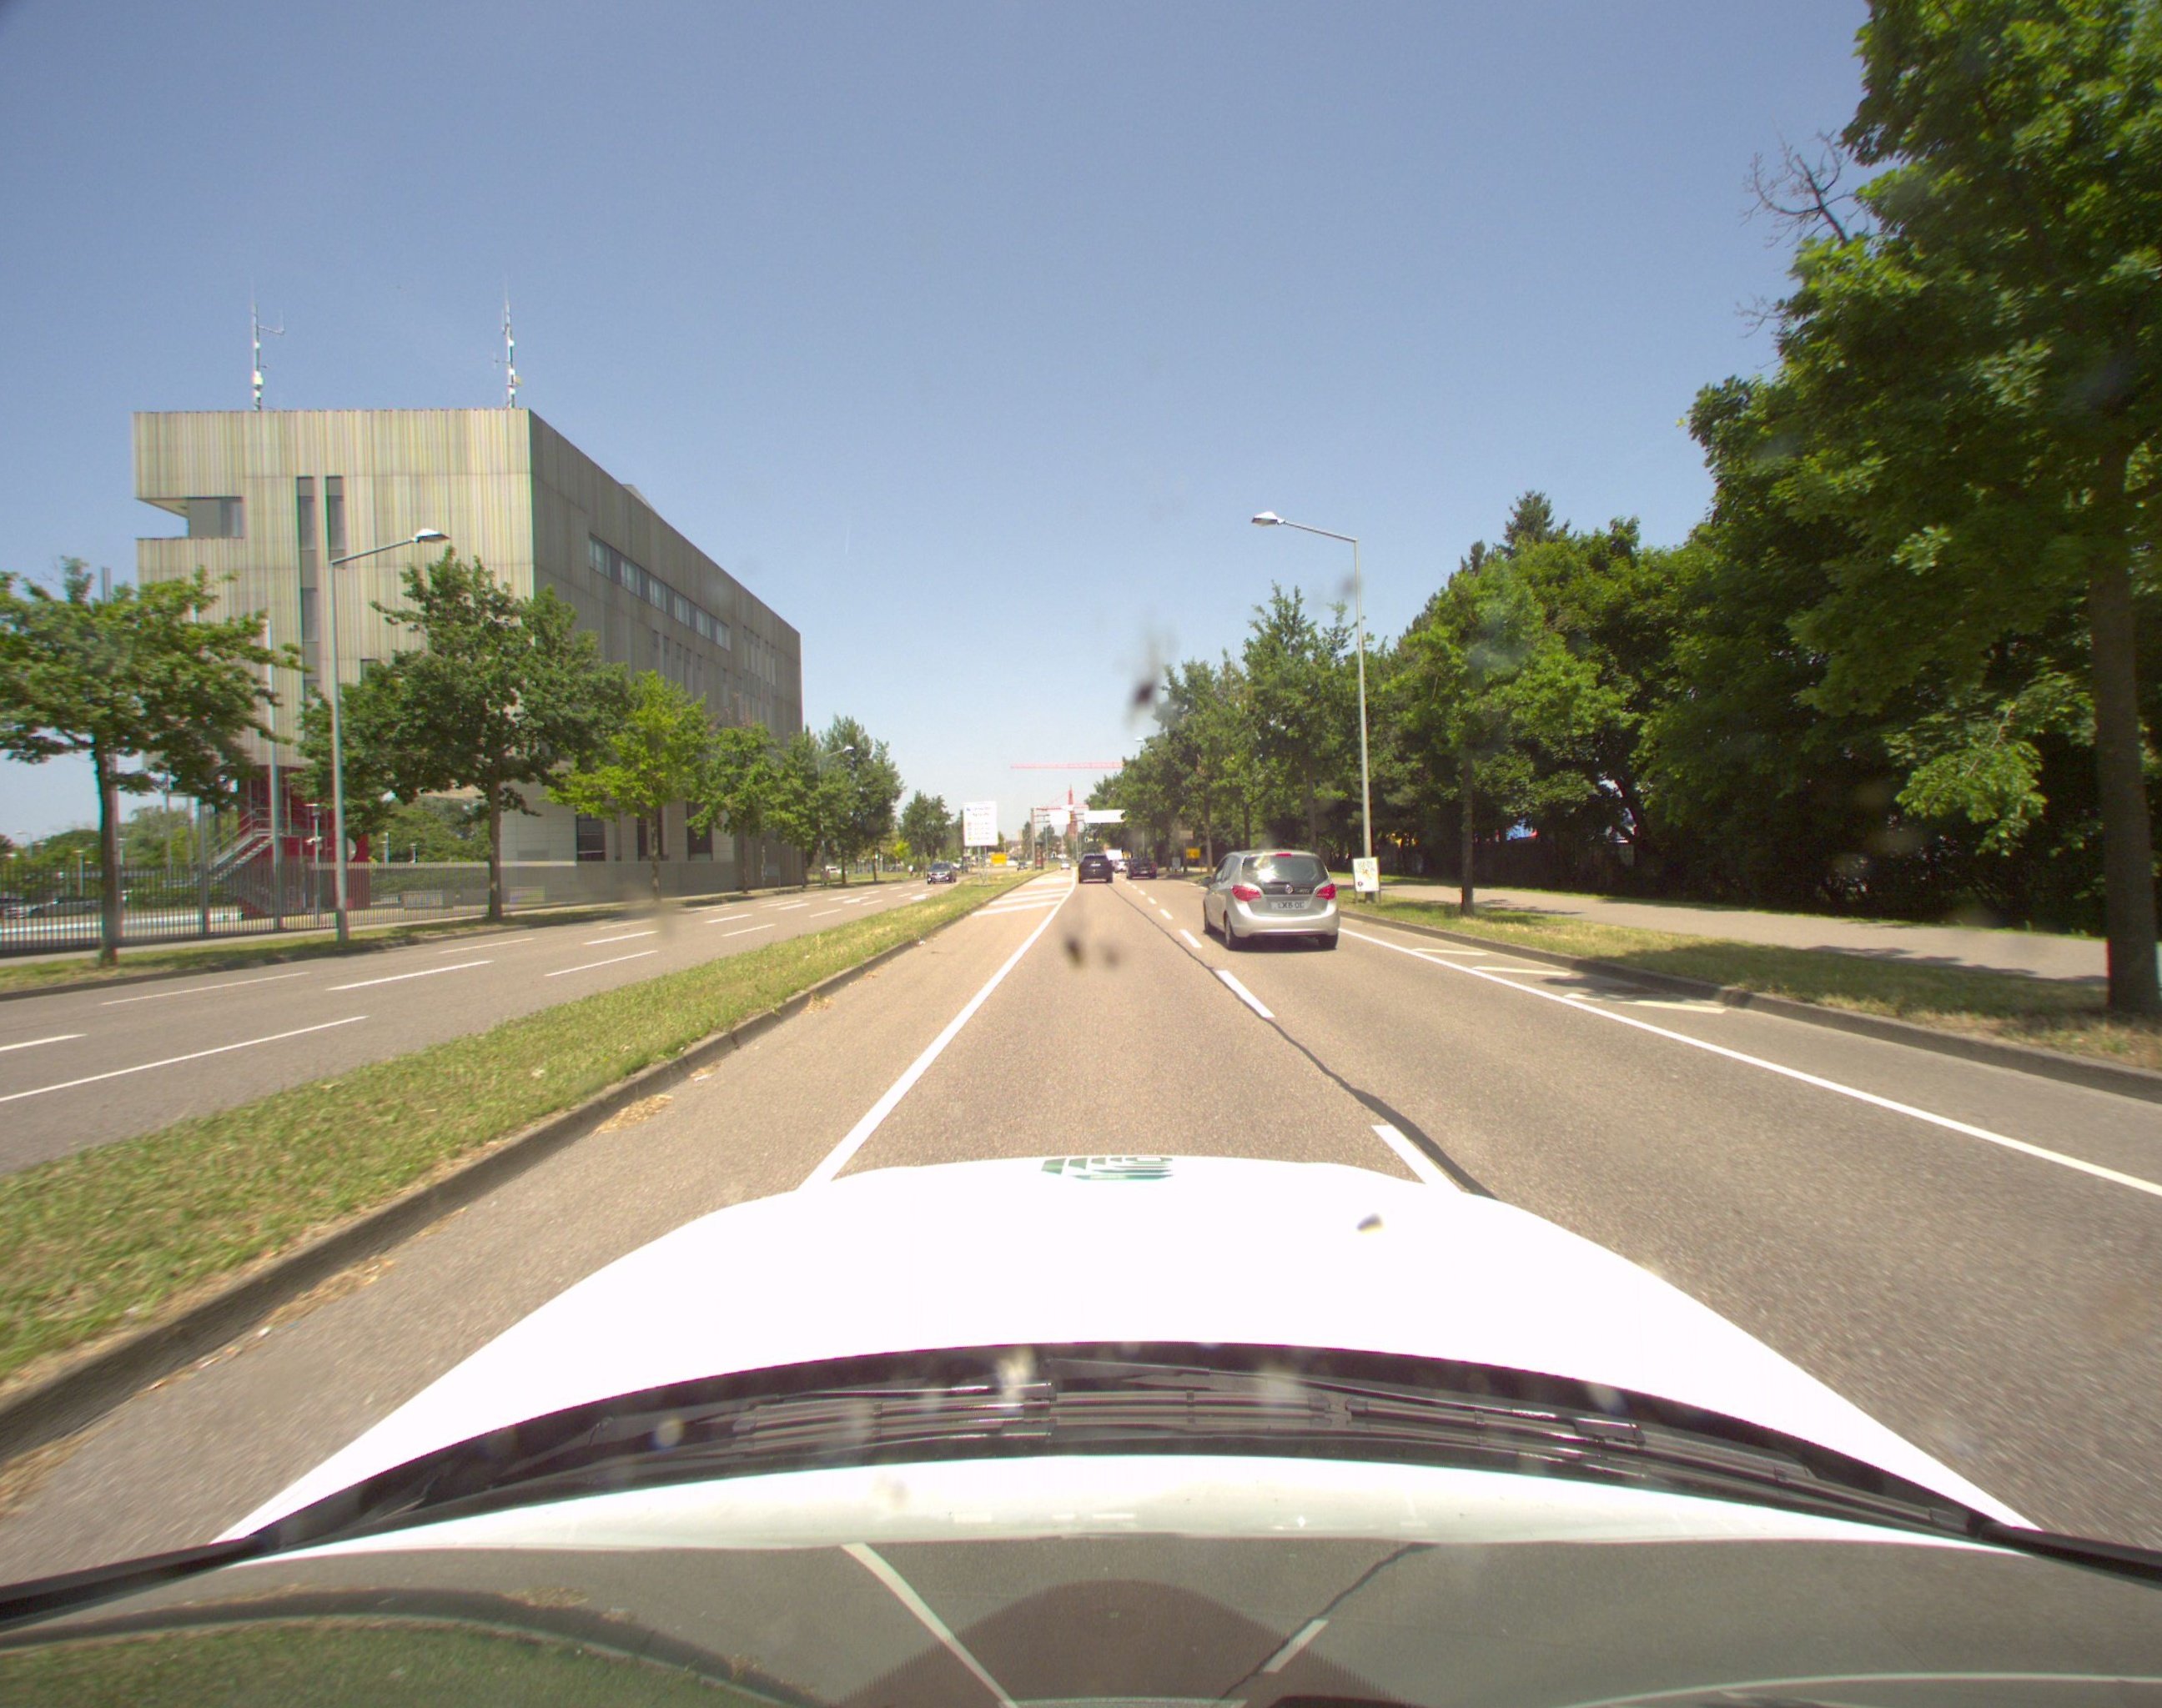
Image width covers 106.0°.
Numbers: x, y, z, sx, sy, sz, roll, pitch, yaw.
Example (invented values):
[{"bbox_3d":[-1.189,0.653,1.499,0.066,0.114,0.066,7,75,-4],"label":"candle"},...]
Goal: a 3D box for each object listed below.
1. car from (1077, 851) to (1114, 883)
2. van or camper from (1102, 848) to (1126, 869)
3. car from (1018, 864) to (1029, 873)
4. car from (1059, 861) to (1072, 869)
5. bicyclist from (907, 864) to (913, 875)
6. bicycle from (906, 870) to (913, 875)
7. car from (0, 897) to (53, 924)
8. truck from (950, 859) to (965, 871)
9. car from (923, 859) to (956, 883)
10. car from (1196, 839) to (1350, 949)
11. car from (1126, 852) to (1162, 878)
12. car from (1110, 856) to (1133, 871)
[{"bbox_3d":[0.847,0.693,46.294,1.991,1.689,4.034,-1,0,1],"label":"car"},{"bbox_3d":[3.817,0.489,95.388,2.486,2.291,4.918,-2,-1,-1],"label":"van or camper"},{"bbox_3d":[-10.653,2.688,150.825,1.888,1.610,4.530,-2,0,-3],"label":"car"},{"bbox_3d":[-2.721,1.972,142.491,1.990,1.321,3.993,-2,0,-5],"label":"car"},{"bbox_3d":[-23.613,2.118,112.208,0.620,1.489,0.757,-2,0,2],"label":"bicyclist"},{"bbox_3d":[-23.564,2.568,112.156,0.479,0.715,1.851,-2,0,3],"label":"bicycle"},{"bbox_3d":[-68.099,3.612,50.847,2.016,1.581,4.524,-2,0,1],"label":"car"},{"bbox_3d":[-27.116,2.361,178.808,2.632,2.576,6.312,-1,0,-3],"label":"truck"},{"bbox_3d":[-9.851,1.148,56.884,1.703,1.471,3.937,-3,0,-2],"label":"car"},{"bbox_3d":[3.136,0.605,14.089,1.786,1.612,3.891,-1,0,1],"label":"car"},{"bbox_3d":[3.937,0.708,51.879,2.007,1.517,4.462,-2,-1,1],"label":"car"},{"bbox_3d":[4.018,0.934,81.635,1.652,1.356,4.452,-2,-1,-5],"label":"car"}]
